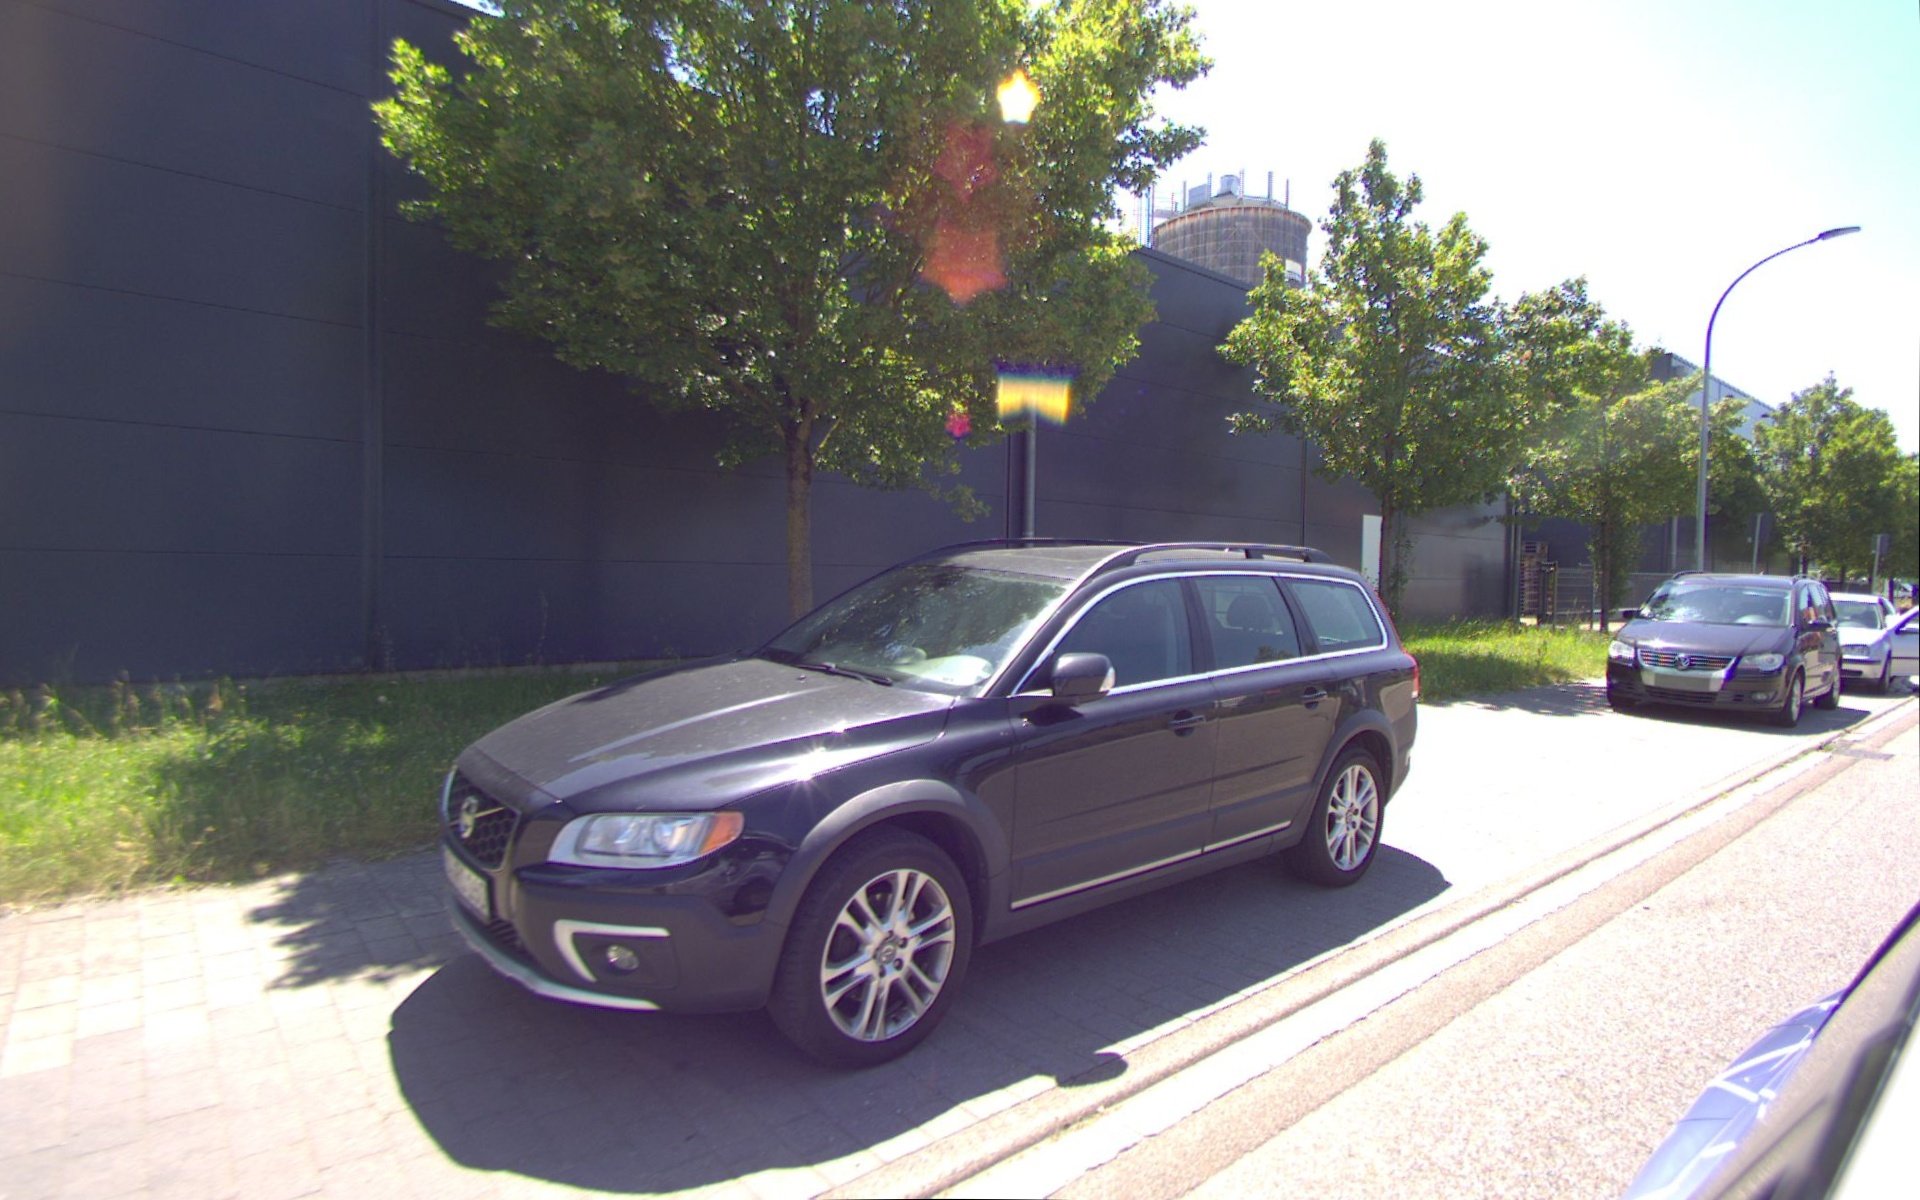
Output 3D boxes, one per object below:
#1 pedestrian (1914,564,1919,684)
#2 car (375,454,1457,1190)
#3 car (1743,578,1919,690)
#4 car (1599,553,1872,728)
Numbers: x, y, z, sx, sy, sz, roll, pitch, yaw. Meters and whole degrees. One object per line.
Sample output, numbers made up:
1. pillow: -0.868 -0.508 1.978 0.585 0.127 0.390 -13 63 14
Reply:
1. pedestrian: 14.940 0.372 15.115 0.710 1.832 0.702 1 1 13
2. car: 0.246 0.433 4.458 4.633 1.637 1.811 0 3 -41
3. car: 13.907 0.442 15.939 4.116 1.475 1.710 0 3 -41
4. car: 9.344 0.359 12.064 4.292 1.690 1.741 0 3 -41
